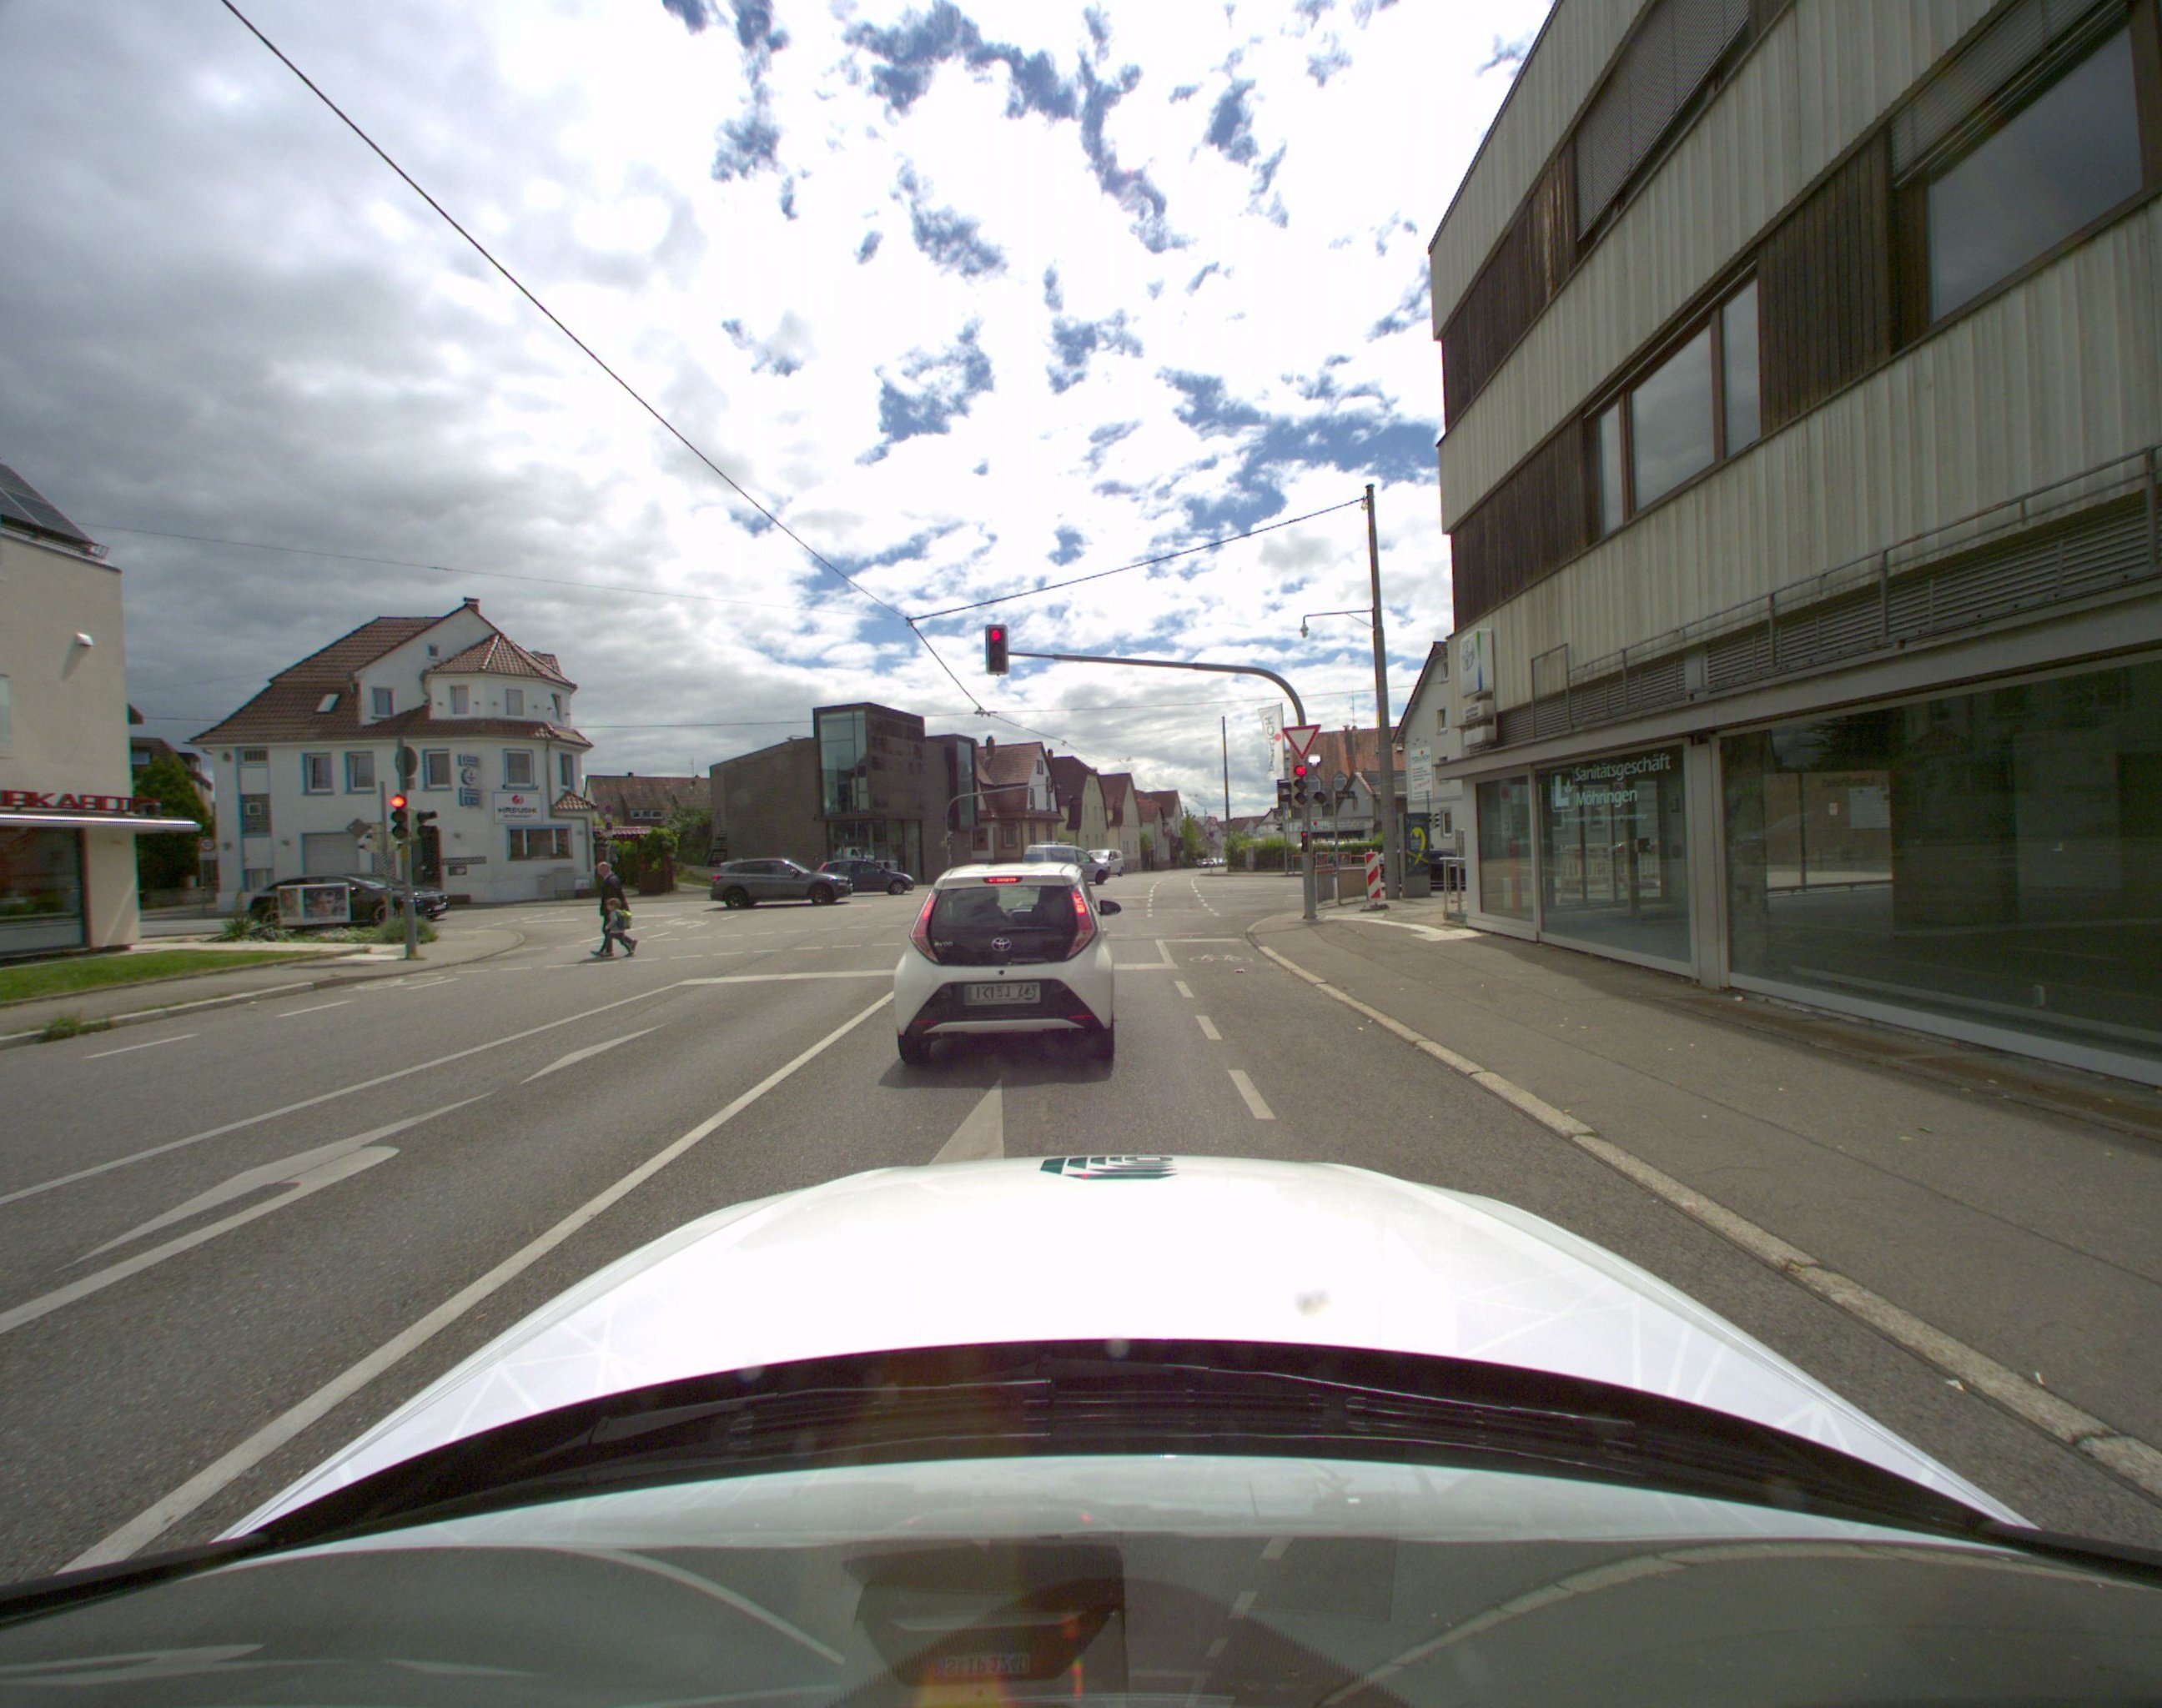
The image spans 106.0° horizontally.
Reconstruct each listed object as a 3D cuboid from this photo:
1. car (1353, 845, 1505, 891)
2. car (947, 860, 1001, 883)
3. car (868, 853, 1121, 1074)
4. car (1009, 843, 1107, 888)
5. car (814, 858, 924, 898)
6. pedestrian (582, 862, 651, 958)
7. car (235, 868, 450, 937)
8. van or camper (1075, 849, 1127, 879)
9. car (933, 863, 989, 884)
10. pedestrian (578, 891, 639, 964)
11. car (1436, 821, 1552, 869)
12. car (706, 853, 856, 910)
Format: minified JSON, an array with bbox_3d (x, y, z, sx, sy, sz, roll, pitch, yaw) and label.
[{"bbox_3d":[12.945,0.487,30.423,4.891,1.577,1.996,-1,0,-7],"label":"car"},{"bbox_3d":[-7.878,1.288,60.085,3.589,1.605,1.697,-1,0,13],"label":"car"},{"bbox_3d":[-0.591,0.748,7.242,1.692,1.456,3.298,-2,0,0],"label":"car"},{"bbox_3d":[-0.954,0.462,35.687,1.975,1.849,4.097,-1,0,44],"label":"car"},{"bbox_3d":[-8.381,0.905,32.086,4.002,1.486,1.986,0,0,-22],"label":"car"},{"bbox_3d":[-8.728,1.034,15.327,0.821,1.721,0.815,-2,0,-7],"label":"pedestrian"},{"bbox_3d":[-22.771,1.444,25.292,4.495,1.742,1.996,-2,2,-7],"label":"car"},{"bbox_3d":[1.427,0.660,54.843,2.099,1.926,5.308,-1,0,17],"label":"van or camper"},{"bbox_3d":[-8.523,1.383,57.975,3.589,1.419,1.697,-1,0,13],"label":"car"},{"bbox_3d":[-8.467,1.304,14.611,0.733,1.221,0.644,-2,0,-9],"label":"pedestrian"},{"bbox_3d":[16.754,-0.320,33.075,3.948,1.838,2.013,-1,0,34],"label":"car"},{"bbox_3d":[-9.842,0.870,27.013,4.291,1.675,1.994,-2,0,-9],"label":"car"}]
